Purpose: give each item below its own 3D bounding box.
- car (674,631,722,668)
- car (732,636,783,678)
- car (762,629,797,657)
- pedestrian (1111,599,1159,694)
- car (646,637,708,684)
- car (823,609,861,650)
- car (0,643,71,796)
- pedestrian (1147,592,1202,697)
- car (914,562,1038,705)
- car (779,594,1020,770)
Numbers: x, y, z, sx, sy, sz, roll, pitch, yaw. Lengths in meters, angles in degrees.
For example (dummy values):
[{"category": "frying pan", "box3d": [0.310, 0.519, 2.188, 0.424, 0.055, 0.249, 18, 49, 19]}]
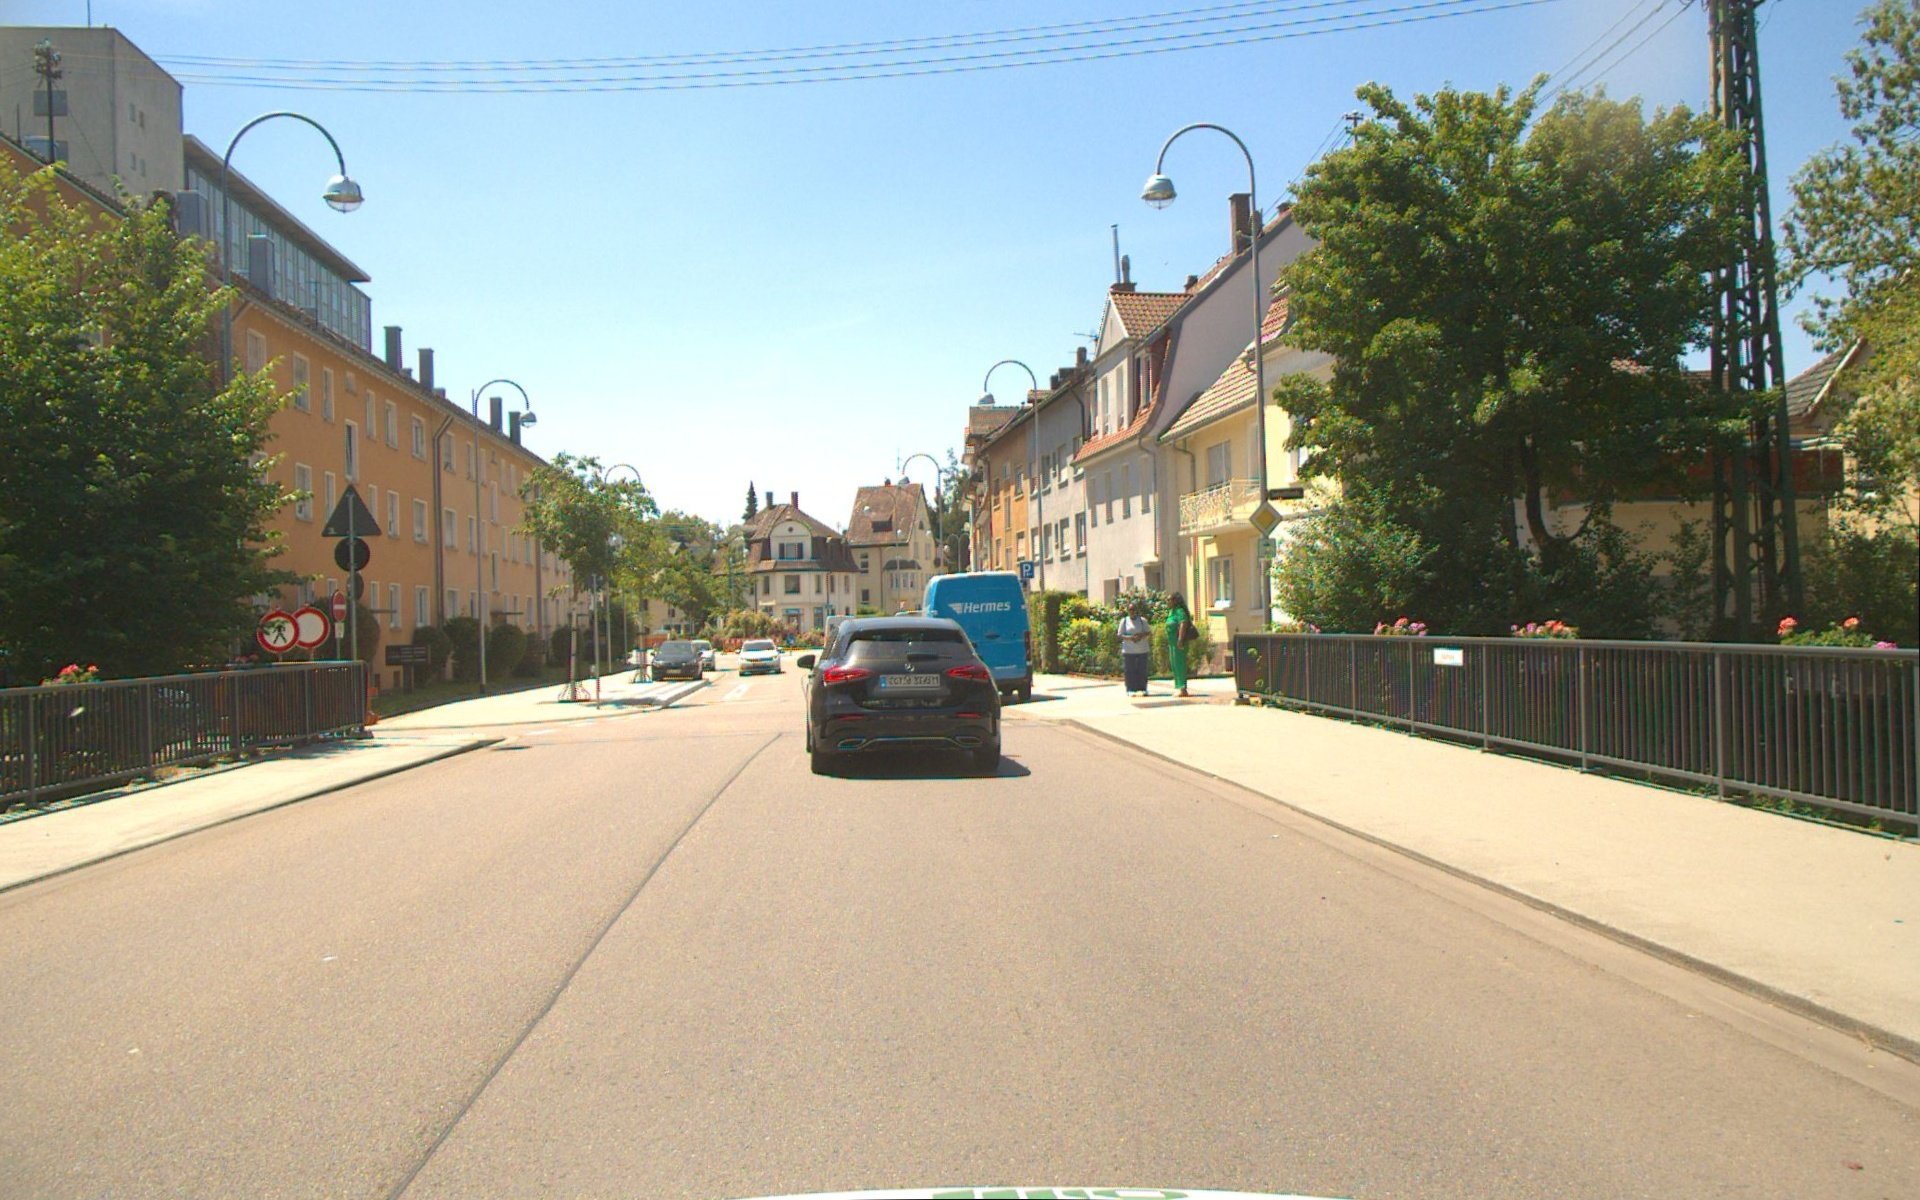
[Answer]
[{"category": "car", "box3d": [-12.624, 2.361, 79.974, 1.954, 1.689, 3.996, 0, -1, -4]}, {"category": "car", "box3d": [-8.601, 2.383, 70.413, 1.954, 1.689, 3.996, 0, -1, -4]}, {"category": "car", "box3d": [-10.942, 2.592, 100.404, 1.954, 1.689, 3.996, 0, -1, -4]}, {"category": "pedestrian", "box3d": [3.118, 0.824, 29.495, 0.602, 1.641, 0.836, -2, -1, -9]}, {"category": "car", "box3d": [-10.769, 2.276, 63.225, 1.954, 1.689, 3.996, 0, -1, -4]}, {"category": "car", "box3d": [-7.207, 1.762, 101.042, 2.201, 2.384, 4.848, -2, 0, -4]}, {"category": "car", "box3d": [-14.420, 1.735, 23.250, 1.955, 2.049, 3.995, -2, 1, -6]}, {"category": "pedestrian", "box3d": [3.708, 0.760, 28.608, 0.651, 1.772, 0.697, -2, -1, -22]}, {"category": "car", "box3d": [0.235, 0.644, 33.200, 2.091, 2.586, 4.645, -2, -1, -4]}, {"category": "car", "box3d": [-0.740, 0.838, 16.576, 1.795, 1.467, 3.988, -2, -3, -11]}]
